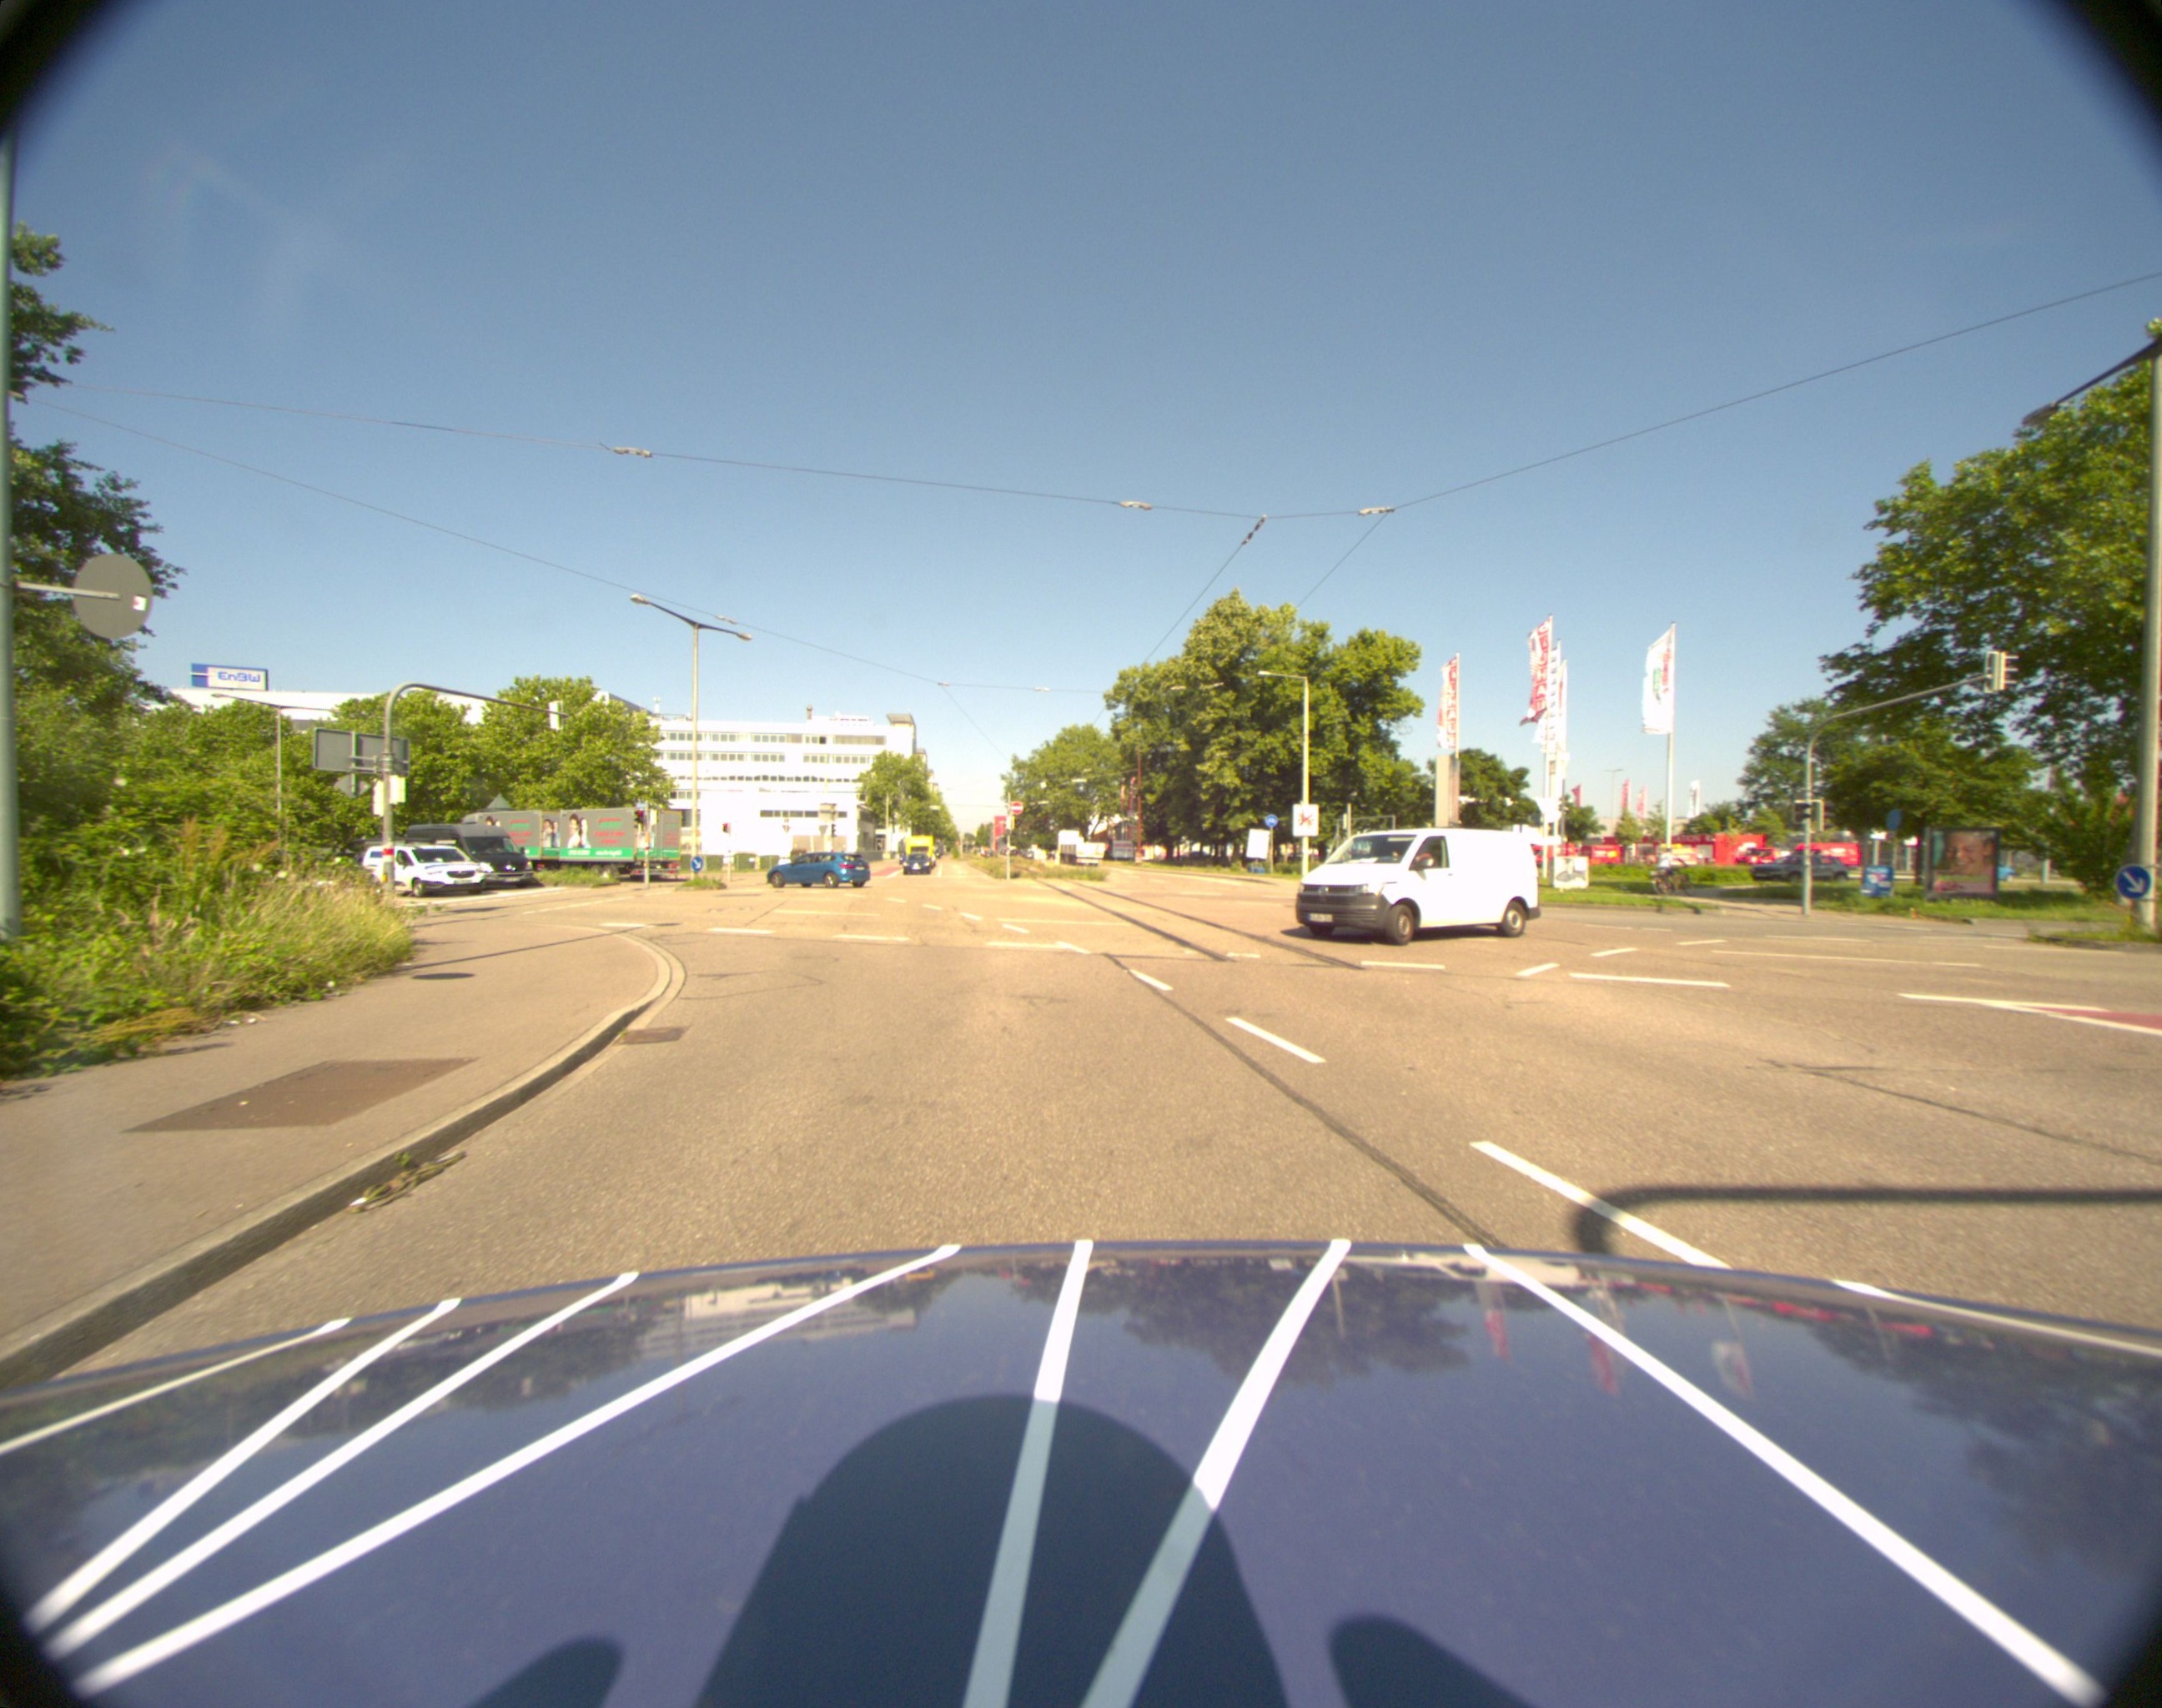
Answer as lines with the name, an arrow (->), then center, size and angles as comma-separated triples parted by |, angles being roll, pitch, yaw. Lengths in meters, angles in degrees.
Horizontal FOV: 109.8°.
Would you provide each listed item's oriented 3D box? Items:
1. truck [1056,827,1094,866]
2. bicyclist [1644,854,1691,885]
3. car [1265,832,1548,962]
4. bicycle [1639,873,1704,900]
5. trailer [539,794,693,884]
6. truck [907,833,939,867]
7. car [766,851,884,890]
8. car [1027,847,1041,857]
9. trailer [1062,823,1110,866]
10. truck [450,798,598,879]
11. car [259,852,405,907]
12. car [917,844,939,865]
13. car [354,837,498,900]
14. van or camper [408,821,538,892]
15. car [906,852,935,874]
truck -> -0.713, -0.745, 83.929 | 2.942, 3.966, 8.148 | -2, 0, -9
bicyclist -> 20.859, 0.550, 27.040 | 0.951, 1.078, 0.892 | 0, 1, -1
car -> 5.875, 0.661, 13.588 | 4.982, 1.982, 1.883 | 0, 1, -27
bicycle -> 20.920, 1.135, 26.927 | 1.876, 0.917, 0.546 | 0, 1, -1
trailer -> -24.037, -0.660, 39.198 | 7.782, 4.201, 2.946 | -2, 0, 26
truck -> -13.947, -0.306, 66.755 | 2.412, 2.846, 5.798 | -2, 0, -14
car -> -10.210, 0.613, 30.326 | 4.185, 1.424, 2.003 | 1, 1, 22
car -> -8.448, -0.408, 137.274 | 2.000, 1.739, 3.997 | -2, 0, -10
trailer -> 0.332, -0.823, 77.159 | 2.942, 3.938, 12.131 | -2, 0, -9
truck -> -31.464, -0.772, 42.849 | 8.632, 4.021, 2.946 | -2, 0, 26
car -> -22.866, 0.785, 23.193 | 3.990, 1.543, 2.003 | -2, 0, 27
car -> -15.033, -0.001, 74.432 | 2.001, 2.002, 3.995 | 0, 1, -12
car -> -23.008, 0.516, 26.659 | 4.872, 2.002, 2.003 | -2, 0, 26
van or camper -> -24.079, 0.146, 30.082 | 5.134, 2.570, 2.003 | -2, 0, 27
car -> -10.854, 0.582, 51.275 | 1.825, 1.346, 3.995 | 0, 0, -12
